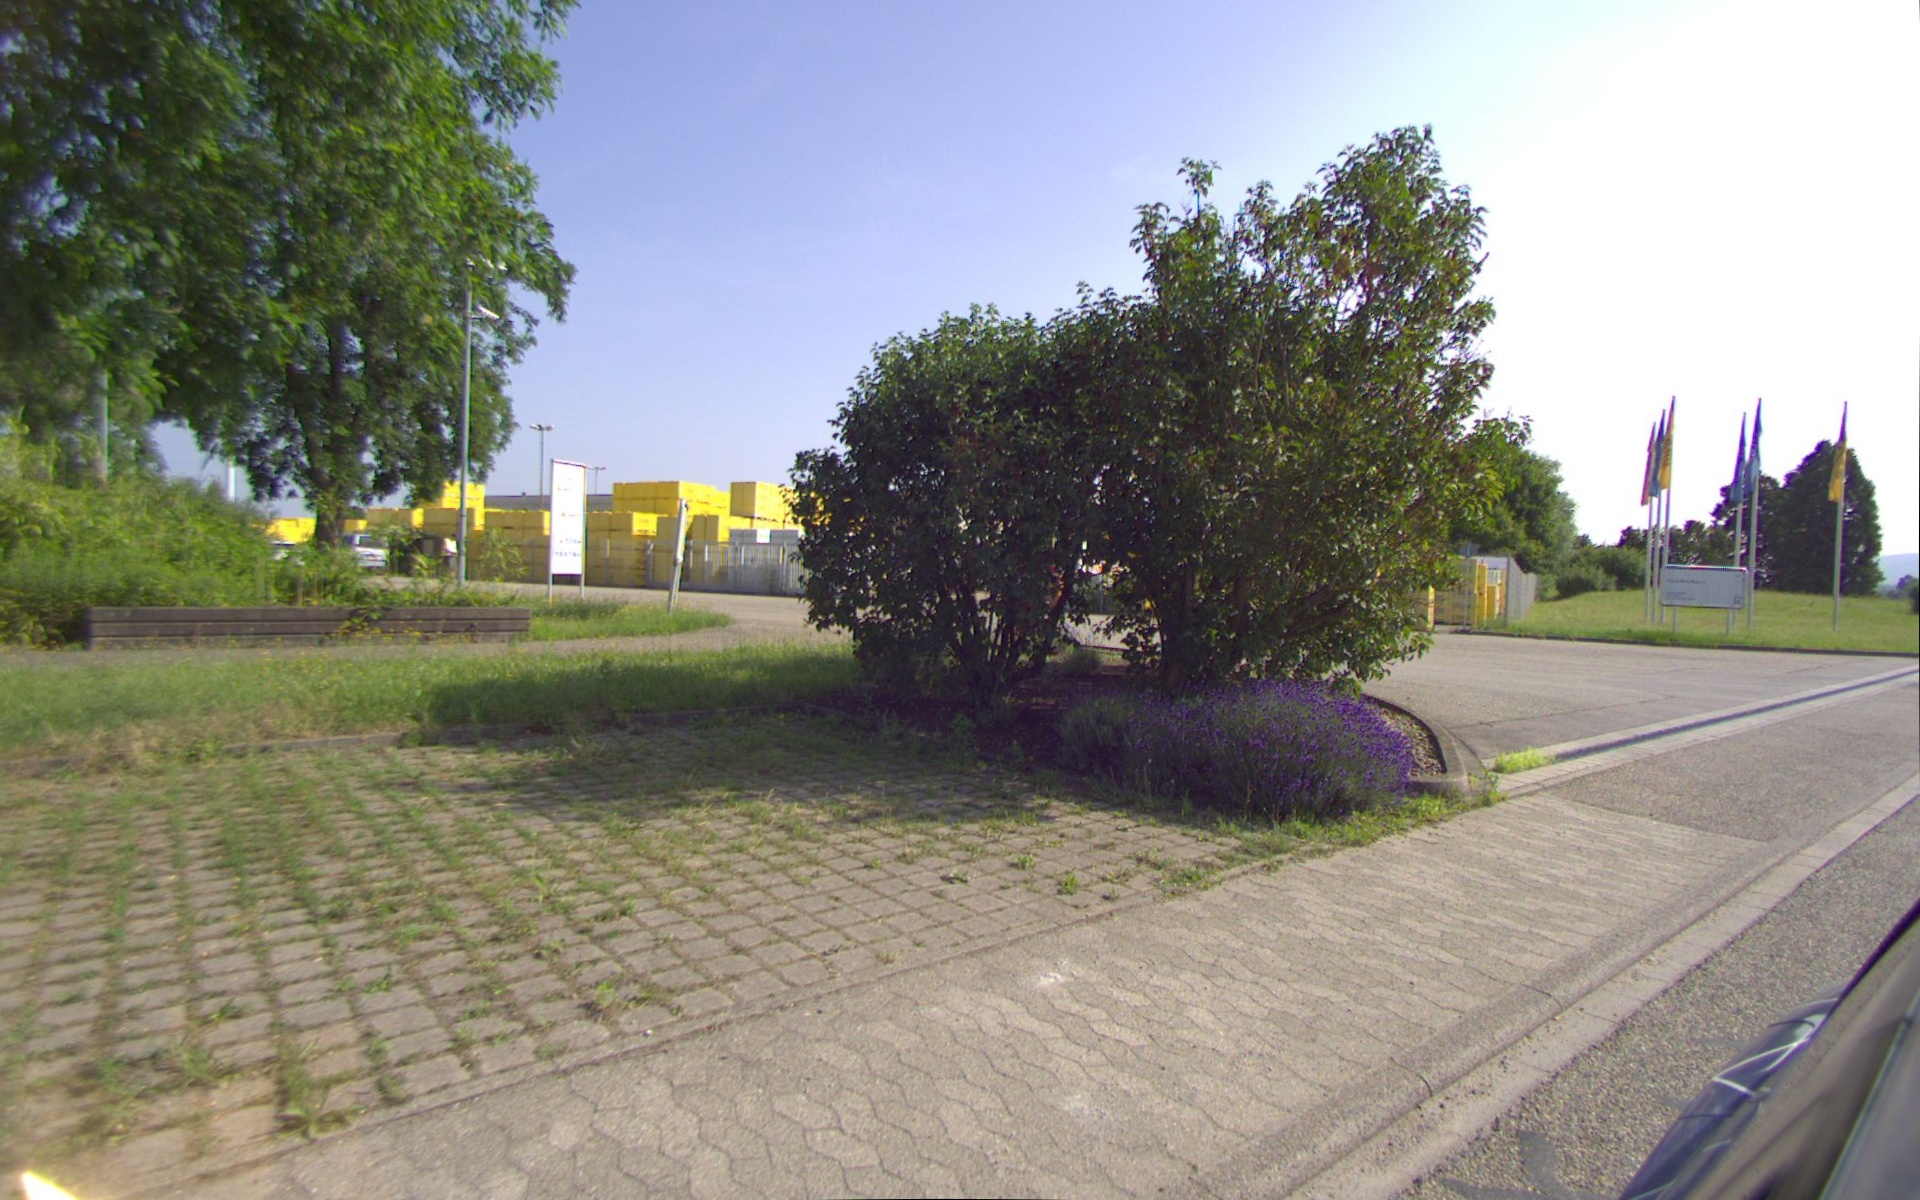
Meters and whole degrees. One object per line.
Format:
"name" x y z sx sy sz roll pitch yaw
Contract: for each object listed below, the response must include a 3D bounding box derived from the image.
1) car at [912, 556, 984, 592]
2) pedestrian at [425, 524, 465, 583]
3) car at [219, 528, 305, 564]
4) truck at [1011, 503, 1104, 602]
"car" -0.744 -1.630 62.519 3.968 2.038 1.979 3 2 30
"pedestrian" -18.356 -1.642 36.079 1.137 2.039 0.984 -1 0 -19
"car" -32.299 -2.463 46.812 3.965 1.527 1.711 0 1 30
"truck" 4.149 -1.934 42.484 2.523 3.924 3.960 0 1 29
